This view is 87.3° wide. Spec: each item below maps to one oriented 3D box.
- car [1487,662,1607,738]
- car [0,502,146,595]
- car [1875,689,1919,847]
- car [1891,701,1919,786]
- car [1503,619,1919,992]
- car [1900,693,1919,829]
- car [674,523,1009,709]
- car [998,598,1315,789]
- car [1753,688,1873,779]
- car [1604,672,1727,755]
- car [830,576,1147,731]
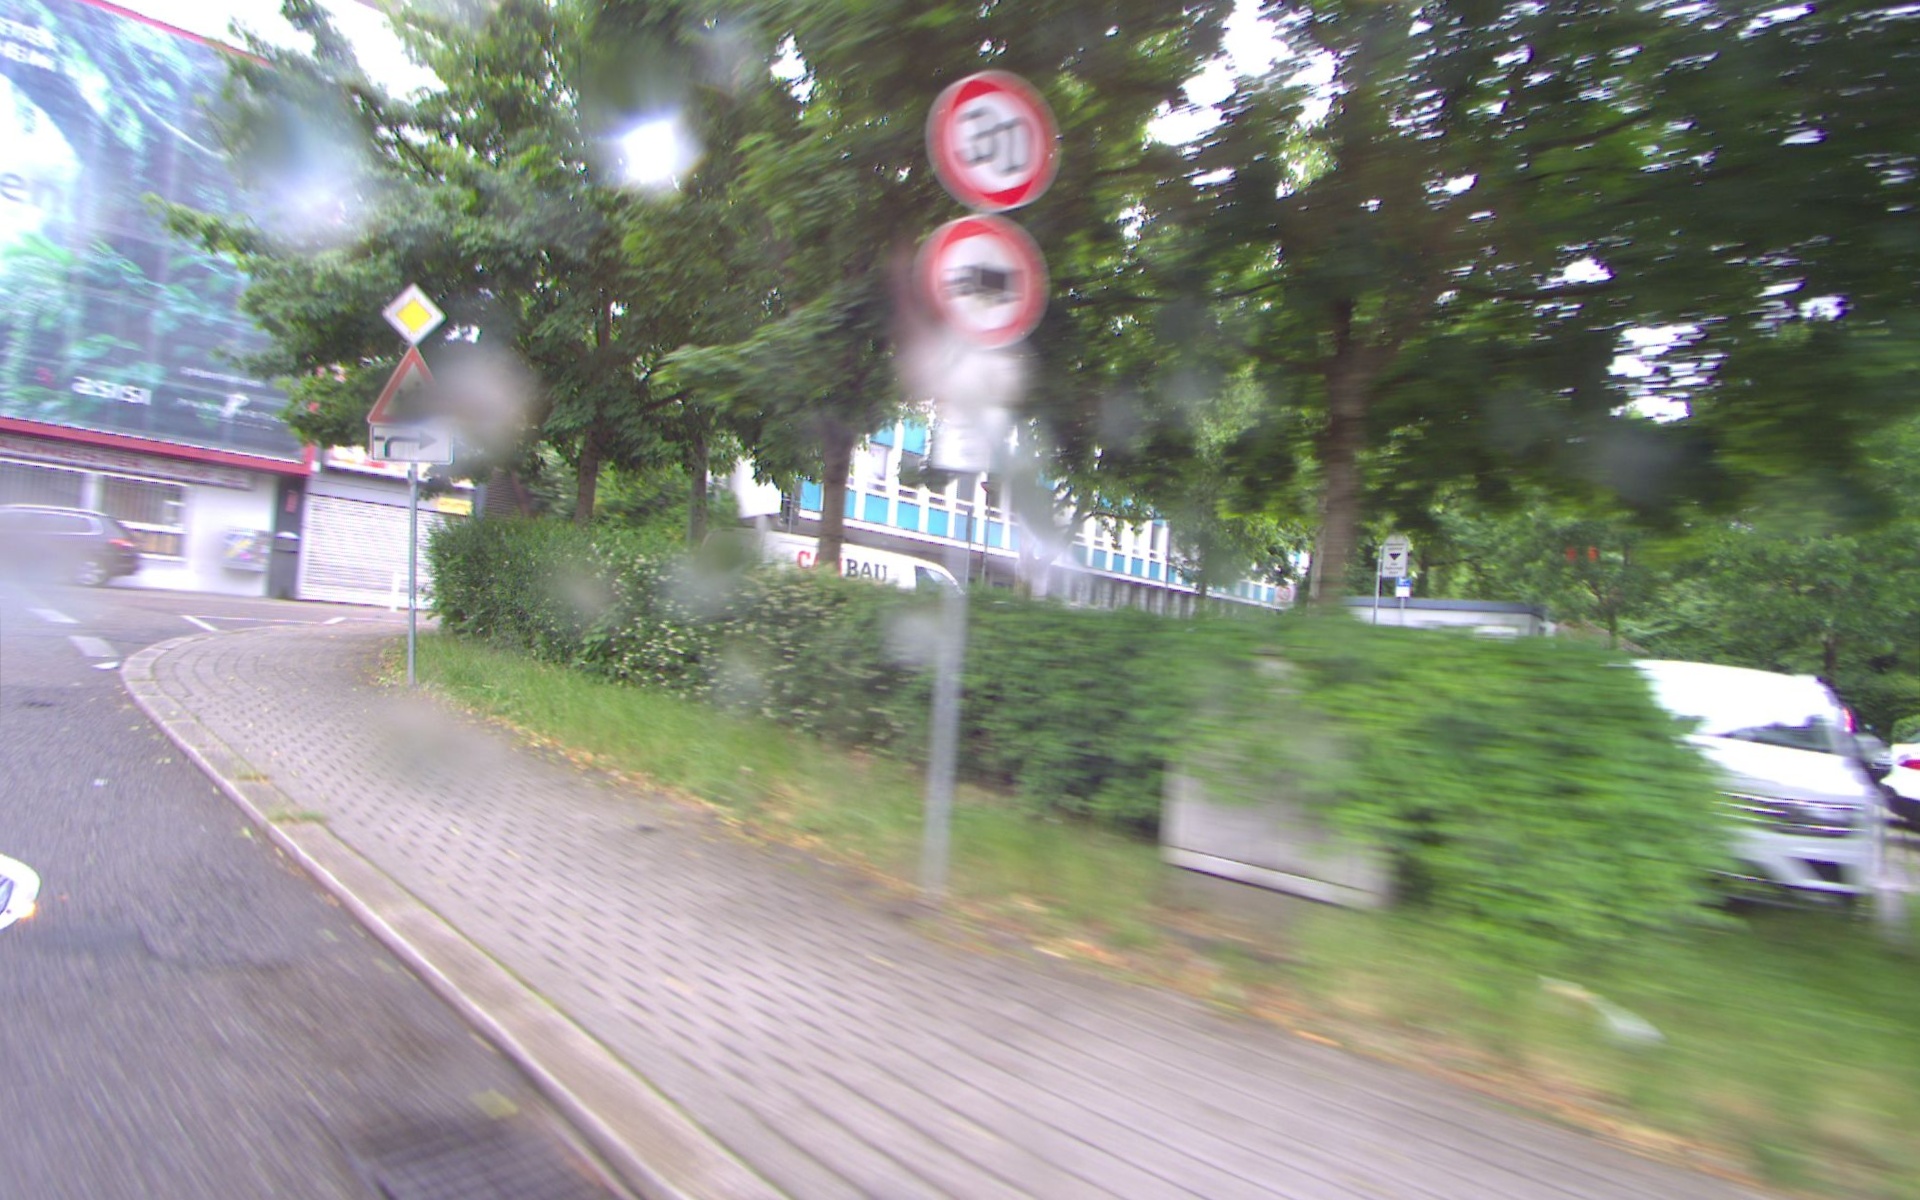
[{"bbox_3d":[15.229,2.580,26.008,1.776,1.629,3.979,6,-1,43],"label":"car"},{"bbox_3d":[-20.588,-1.198,22.149,3.966,1.732,1.913,6,-1,-38],"label":"car"},{"bbox_3d":[12.329,2.061,10.672,1.627,1.717,3.658,7,-2,-43],"label":"car"},{"bbox_3d":[20.511,3.033,20.741,1.776,1.629,3.979,6,-1,43],"label":"car"},{"bbox_3d":[5.222,1.211,7.001,1.613,1.641,4.196,8,-1,40],"label":"car"},{"bbox_3d":[14.067,2.250,12.226,1.627,1.717,3.658,7,-2,-43],"label":"car"},{"bbox_3d":[-1.500,0.290,13.782,4.182,1.984,1.619,8,0,-40],"label":"car"},{"bbox_3d":[2.422,1.072,11.517,1.613,1.641,4.196,8,-1,40],"label":"car"},{"bbox_3d":[19.038,2.928,22.395,1.776,1.629,3.979,6,-1,43],"label":"car"},{"bbox_3d":[16.843,2.683,23.940,1.776,1.629,3.979,6,-1,43],"label":"car"},{"bbox_3d":[0.527,0.749,12.620,1.613,1.500,4.196,8,-1,40],"label":"car"}]
